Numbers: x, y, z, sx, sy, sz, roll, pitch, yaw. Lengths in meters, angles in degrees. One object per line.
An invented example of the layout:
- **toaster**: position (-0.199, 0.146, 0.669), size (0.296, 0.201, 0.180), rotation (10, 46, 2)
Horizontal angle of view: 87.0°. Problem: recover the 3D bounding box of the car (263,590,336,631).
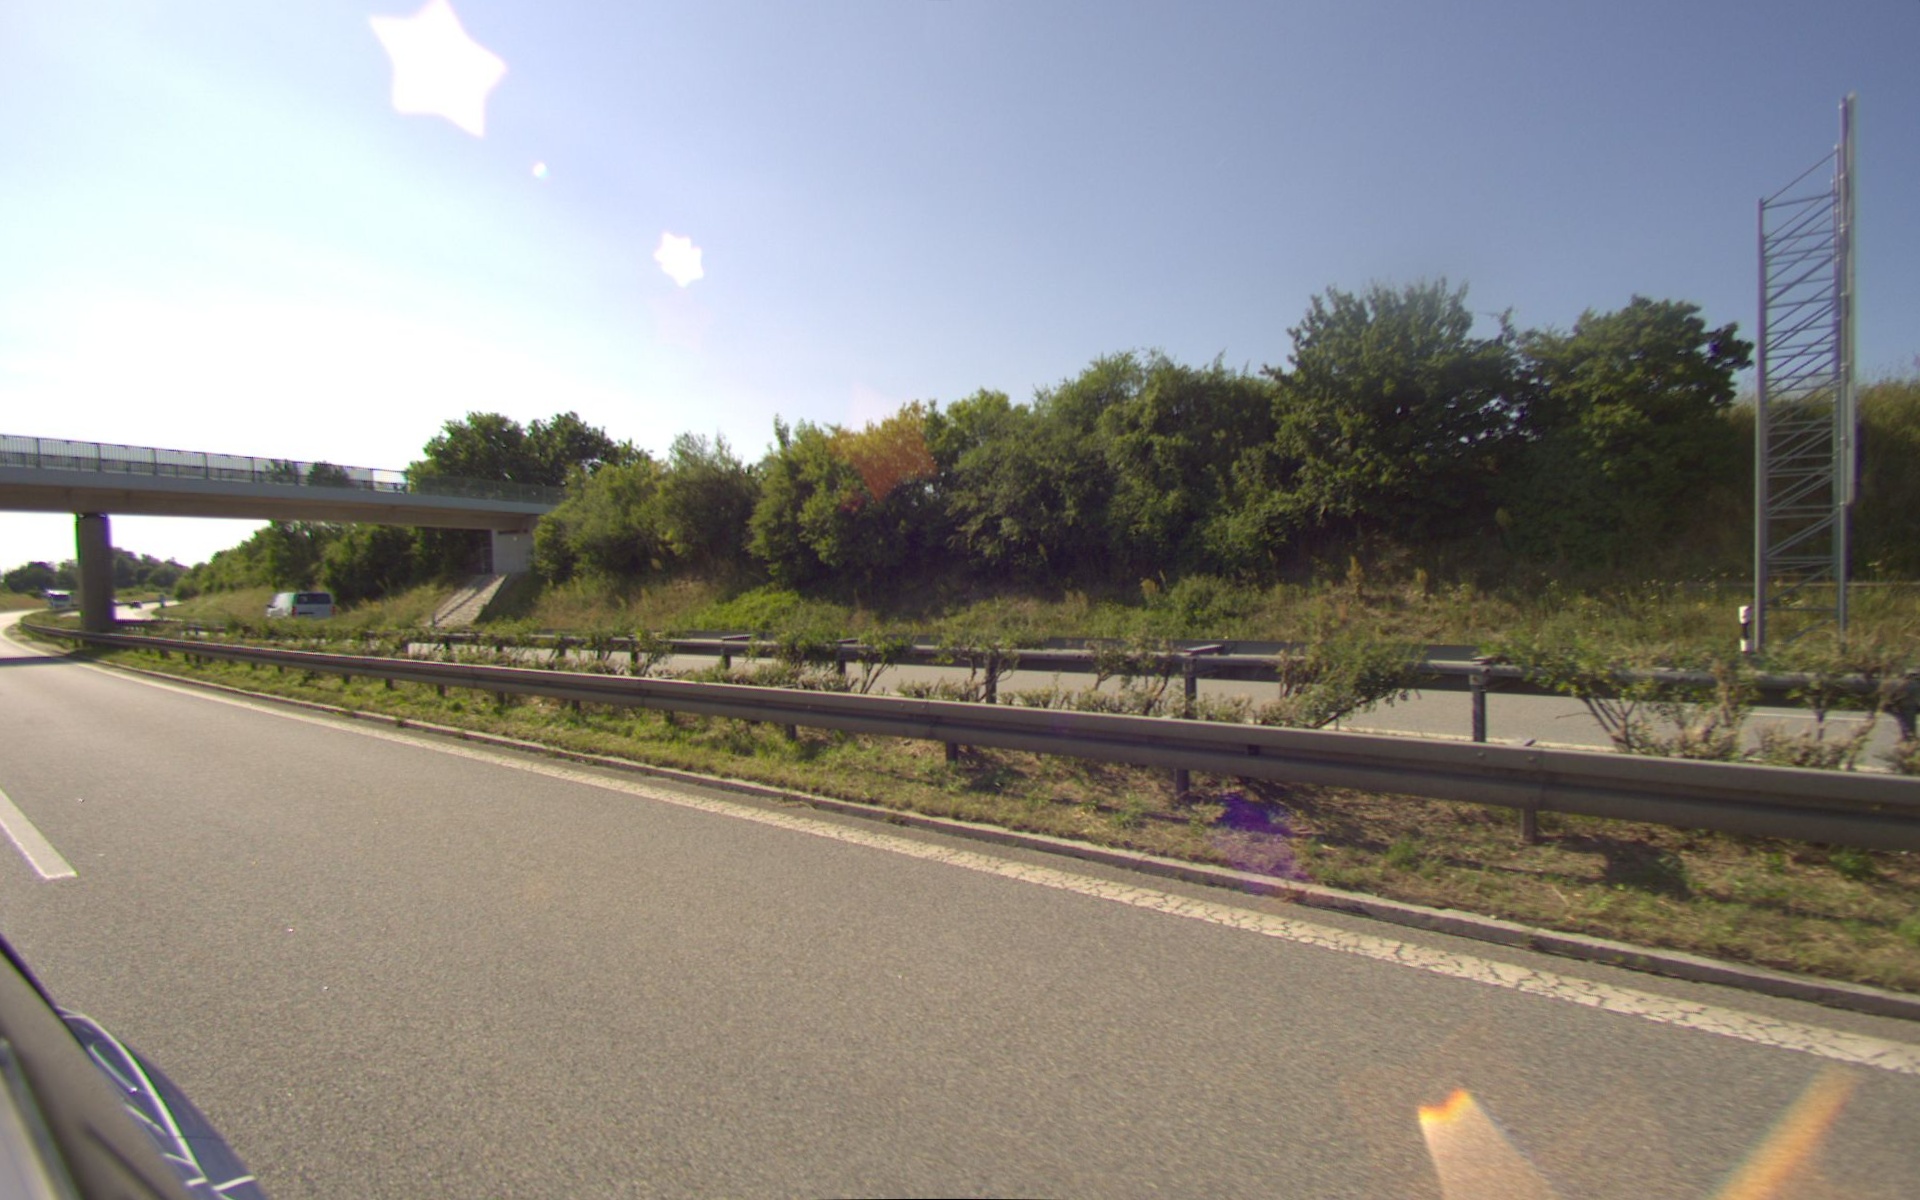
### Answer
- **car**: position (-31.310, 0.483, 47.891), size (4.623, 1.871, 1.836), rotation (-1, 0, 43)
